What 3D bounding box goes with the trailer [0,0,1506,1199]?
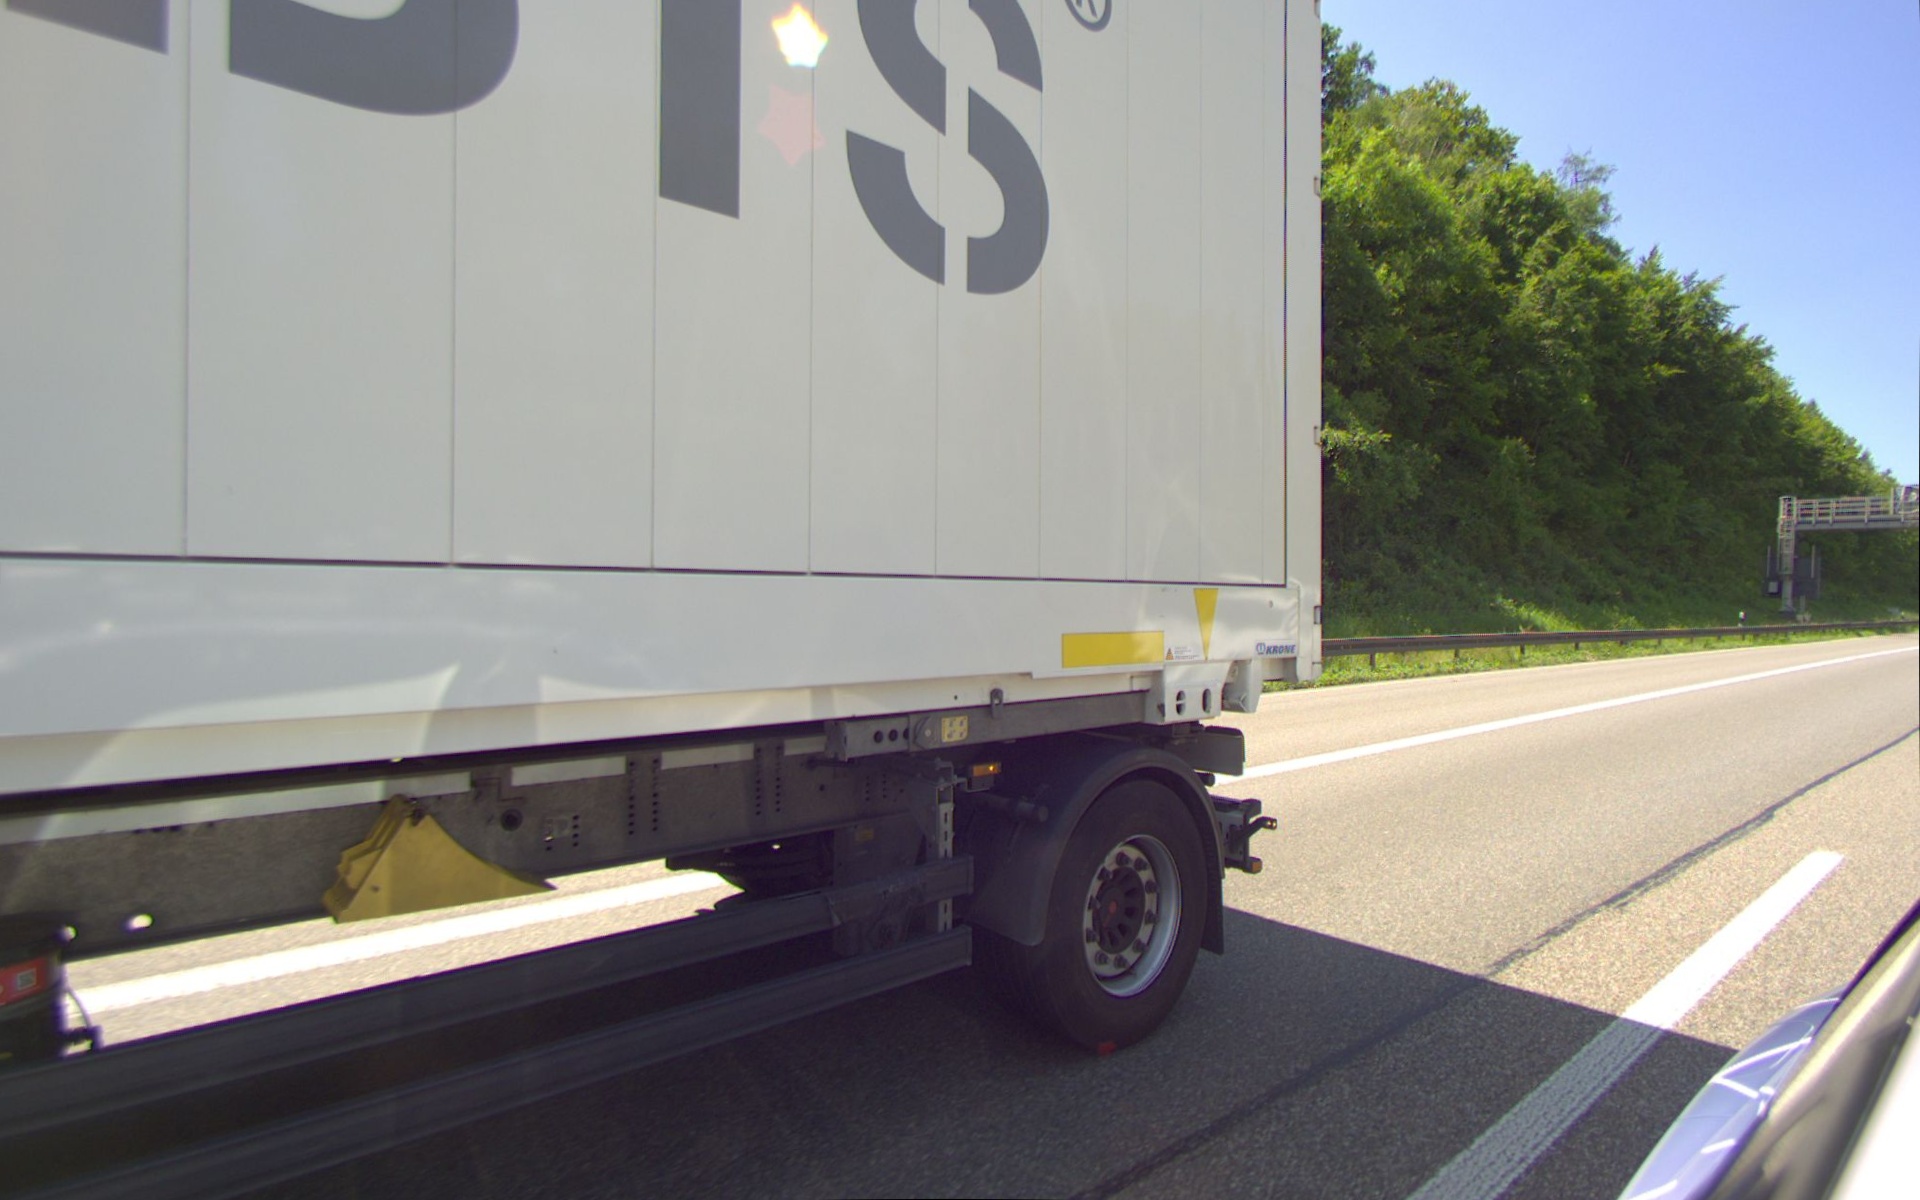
[{"bbox_3d":[-1.875,-0.703,2.759,9.890,4.229,2.684,0,-1,-41],"label":"trailer"}]
